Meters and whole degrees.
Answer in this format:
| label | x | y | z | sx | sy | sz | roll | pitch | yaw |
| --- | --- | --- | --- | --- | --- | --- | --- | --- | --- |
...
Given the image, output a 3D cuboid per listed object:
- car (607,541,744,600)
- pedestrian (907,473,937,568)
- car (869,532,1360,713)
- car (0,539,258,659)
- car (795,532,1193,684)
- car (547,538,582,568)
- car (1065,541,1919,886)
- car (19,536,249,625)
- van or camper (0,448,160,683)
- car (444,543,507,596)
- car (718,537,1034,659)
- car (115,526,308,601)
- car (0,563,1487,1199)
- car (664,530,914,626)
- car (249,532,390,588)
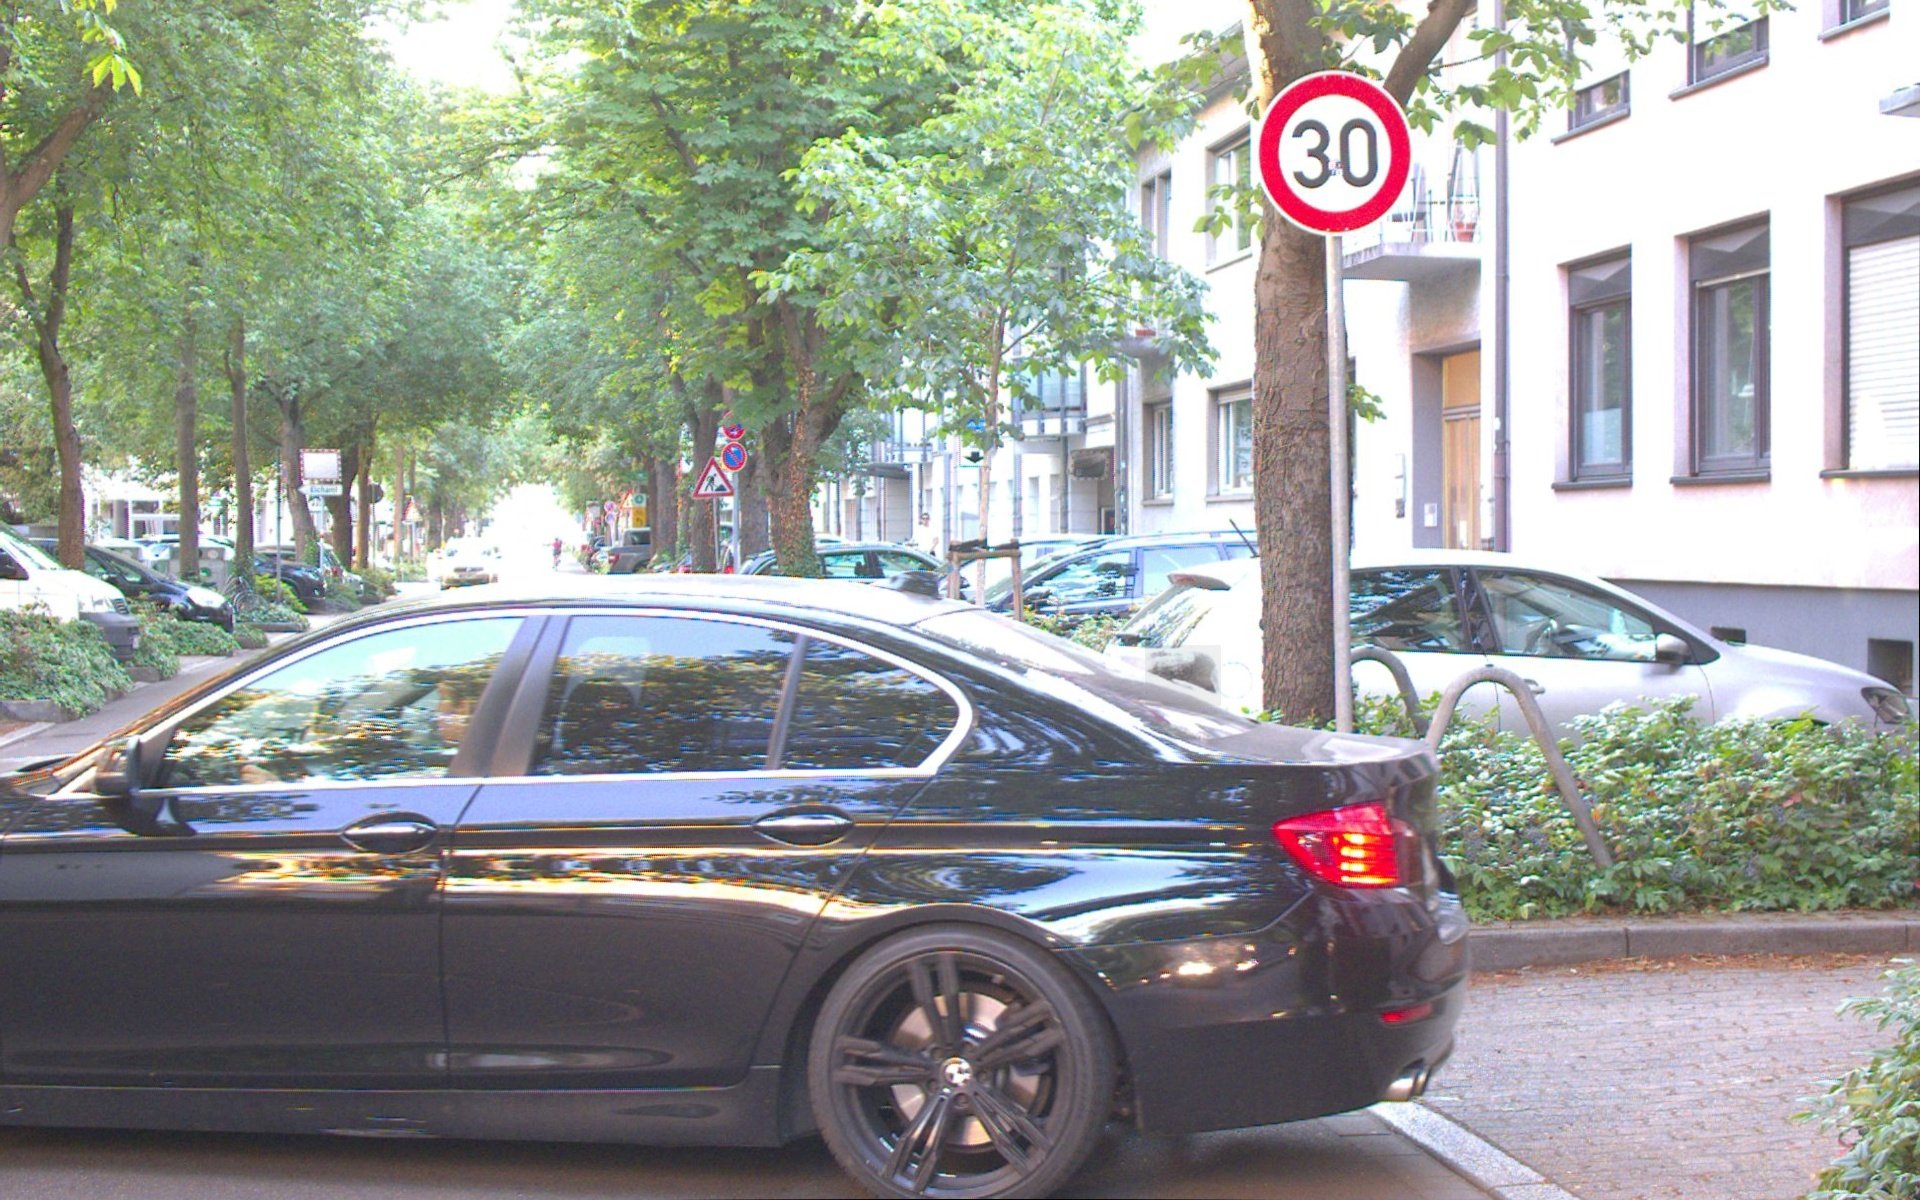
| label | x | y | z | sx | sy | sz | roll | pitch | yaw |
| --- | --- | --- | --- | --- | --- | --- | --- | --- | --- |
| car | -8.353 | -0.875 | 100.777 | 3.967 | 1.678 | 1.785 | 0 | 1 | -5 |
| pedestrian | -0.815 | -1.679 | 72.884 | 0.589 | 2.007 | 0.669 | 0 | 1 | -5 |
| car | 1.293 | 0.163 | 29.687 | 3.967 | 1.471 | 1.785 | -1 | 1 | -8 |
| car | -11.926 | -0.032 | 48.045 | 3.967 | 1.614 | 1.785 | 0 | 1 | -6 |
| car | 0.320 | 0.065 | 36.151 | 3.967 | 1.522 | 1.785 | -1 | 1 | -7 |
| car | -21.334 | -2.543 | 185.390 | 1.822 | 1.525 | 4.001 | -1 | 1 | -6 |
| car | 2.566 | 0.476 | 16.077 | 3.908 | 1.471 | 1.665 | -1 | 1 | -8 |
| car | -15.464 | -0.374 | 64.510 | 3.967 | 1.614 | 1.785 | 0 | 1 | -5 |
| van or camper | -11.128 | -0.378 | 37.047 | 4.662 | 2.470 | 2.000 | 0 | 1 | -7 |
| car | -14.932 | -0.957 | 106.051 | 1.779 | 1.557 | 4.169 | 0 | 1 | -6 |
| car | -1.132 | -0.046 | 44.962 | 3.967 | 1.522 | 1.785 | -1 | 1 | -7 |
| car | -16.548 | -0.808 | 76.150 | 3.967 | 1.614 | 1.785 | 0 | 1 | -5 |
| car | -1.102 | 0.658 | 8.669 | 4.747 | 1.475 | 1.799 | 0 | 1 | 11 |
| car | -2.848 | -0.375 | 56.825 | 3.967 | 1.522 | 1.785 | -1 | 1 | -8 |
| car | -19.089 | -1.198 | 102.571 | 3.967 | 1.614 | 1.785 | 0 | 1 | -5 |
